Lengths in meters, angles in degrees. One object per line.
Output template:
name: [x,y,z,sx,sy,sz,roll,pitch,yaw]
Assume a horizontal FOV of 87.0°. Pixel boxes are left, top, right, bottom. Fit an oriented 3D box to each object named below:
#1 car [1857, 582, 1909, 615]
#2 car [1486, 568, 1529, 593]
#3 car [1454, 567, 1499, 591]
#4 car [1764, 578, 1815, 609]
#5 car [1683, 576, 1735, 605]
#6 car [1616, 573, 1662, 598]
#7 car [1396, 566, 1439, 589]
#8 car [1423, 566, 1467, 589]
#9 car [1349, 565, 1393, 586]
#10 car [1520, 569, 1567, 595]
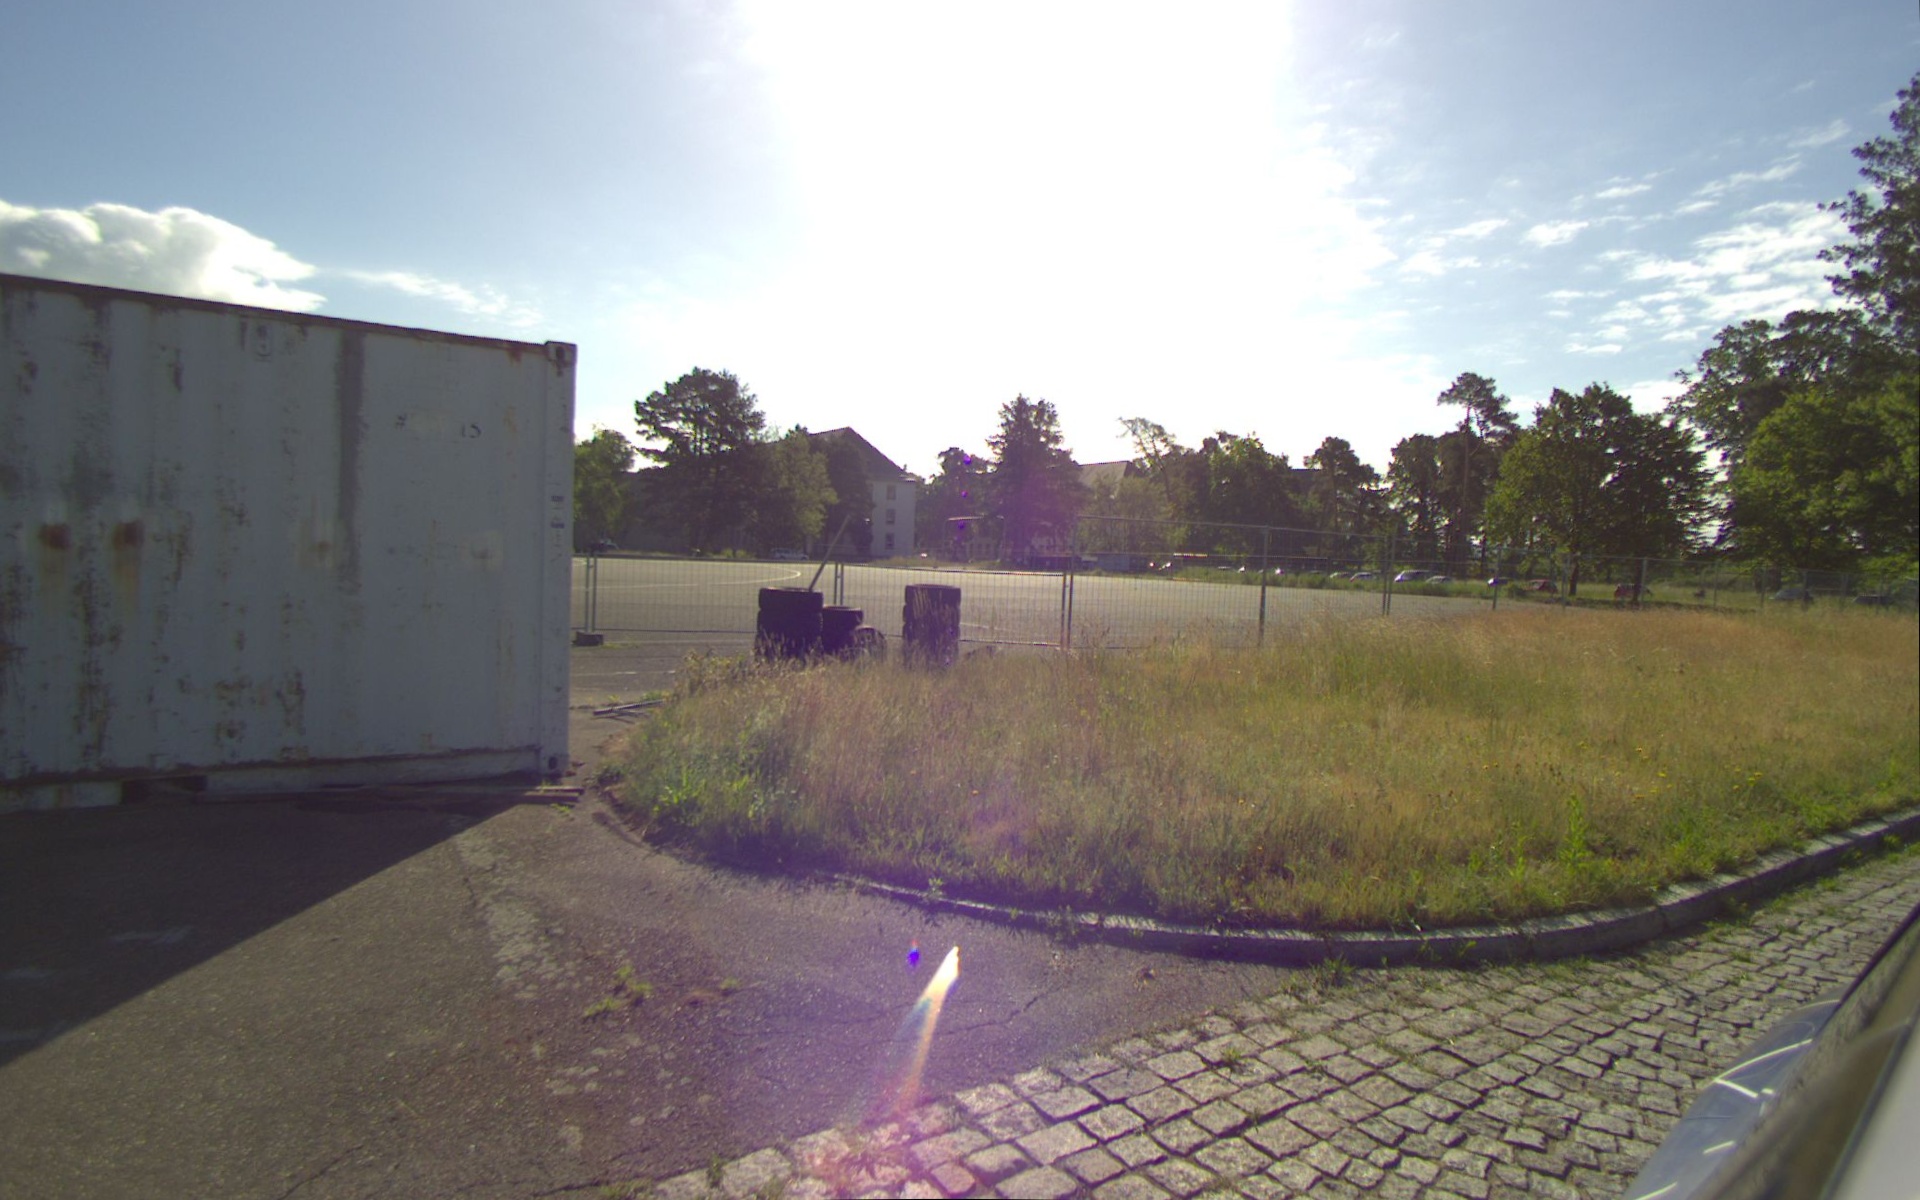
car: [61.948,-0.124,67.896,3.929,2.038,1.999,0,3,-40]
car: [48.396,-1.714,89.444,3.931,2.038,1.997,0,3,-42]
car: [47.691,-1.975,93.452,3.922,2.038,2.002,1,3,-34]
car: [59.341,-0.474,72.378,3.929,2.038,1.999,0,3,-40]
car: [57.042,-0.740,77.106,3.925,2.038,2.001,0,3,-36]
car: [54.223,-1.124,80.800,3.929,1.838,1.999,0,3,-40]
car: [43.689,-2.177,96.639,3.924,2.038,2.001,0,3,-36]
car: [45.457,-2.093,94.858,3.924,1.971,2.001,0,3,-36]
car: [41.168,-2.416,101.373,3.918,2.039,2.003,0,0,-27]
car: [50.253,-1.545,87.130,3.924,2.038,2.001,1,3,-35]
